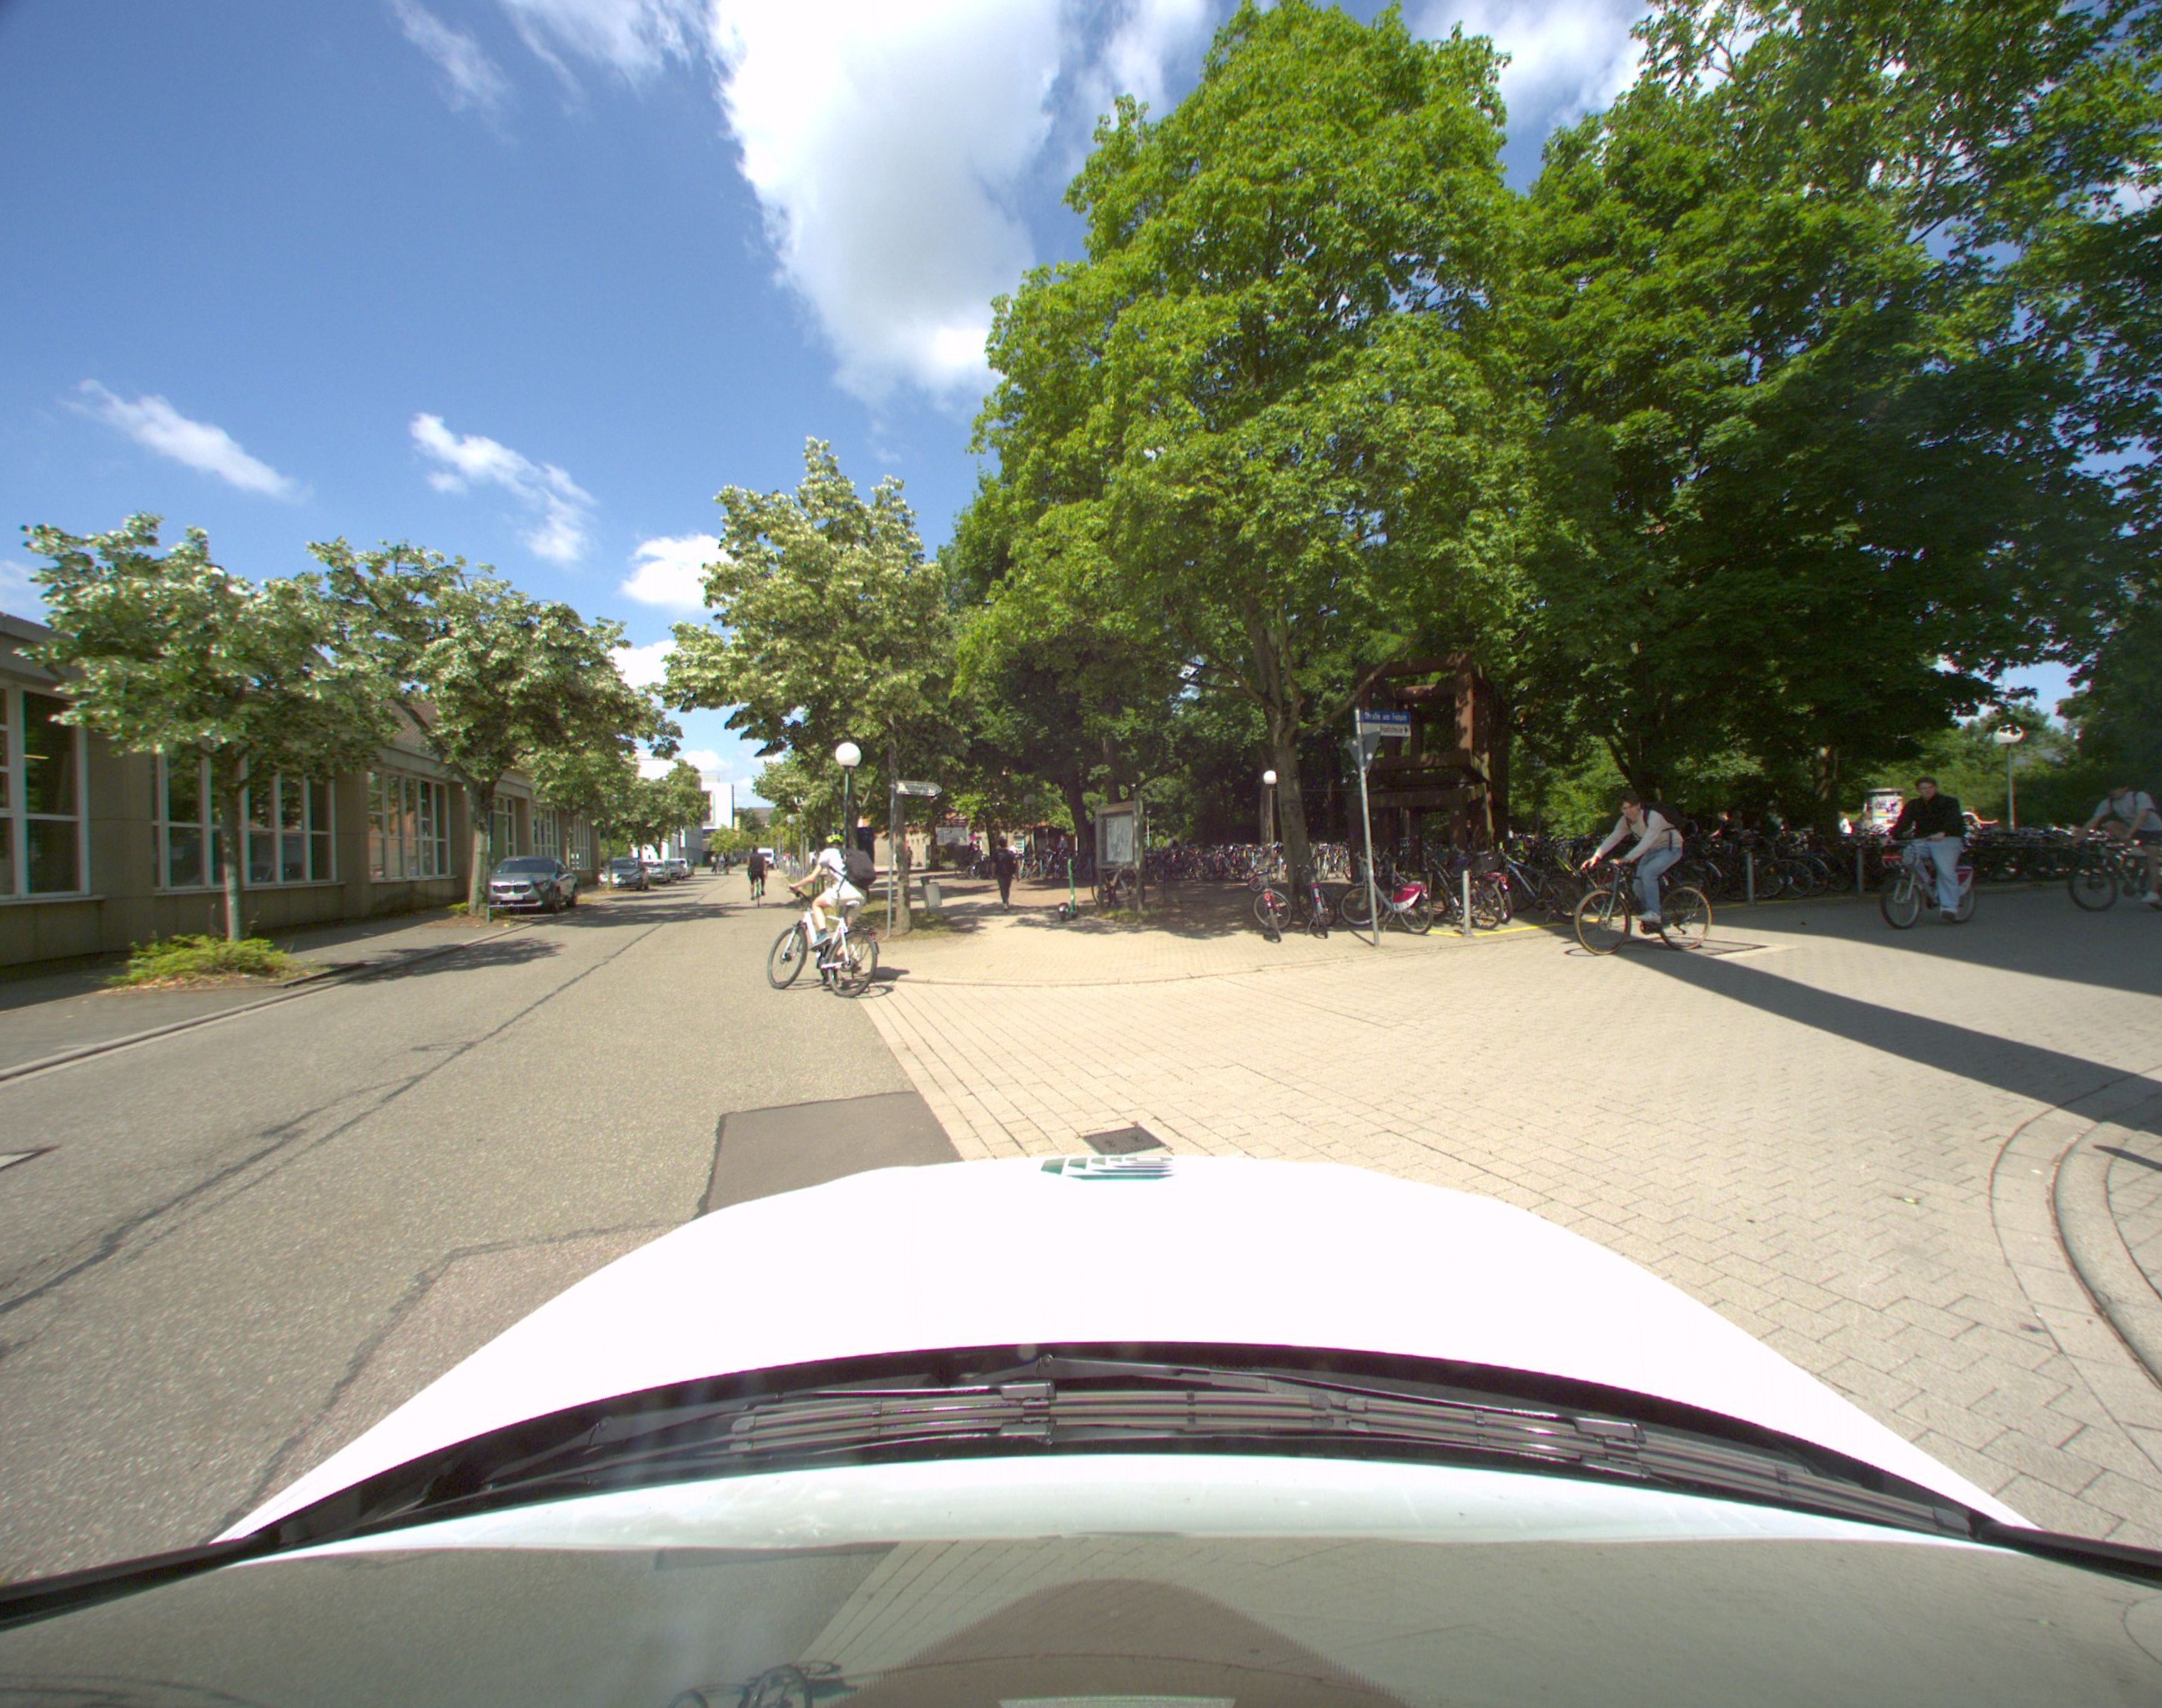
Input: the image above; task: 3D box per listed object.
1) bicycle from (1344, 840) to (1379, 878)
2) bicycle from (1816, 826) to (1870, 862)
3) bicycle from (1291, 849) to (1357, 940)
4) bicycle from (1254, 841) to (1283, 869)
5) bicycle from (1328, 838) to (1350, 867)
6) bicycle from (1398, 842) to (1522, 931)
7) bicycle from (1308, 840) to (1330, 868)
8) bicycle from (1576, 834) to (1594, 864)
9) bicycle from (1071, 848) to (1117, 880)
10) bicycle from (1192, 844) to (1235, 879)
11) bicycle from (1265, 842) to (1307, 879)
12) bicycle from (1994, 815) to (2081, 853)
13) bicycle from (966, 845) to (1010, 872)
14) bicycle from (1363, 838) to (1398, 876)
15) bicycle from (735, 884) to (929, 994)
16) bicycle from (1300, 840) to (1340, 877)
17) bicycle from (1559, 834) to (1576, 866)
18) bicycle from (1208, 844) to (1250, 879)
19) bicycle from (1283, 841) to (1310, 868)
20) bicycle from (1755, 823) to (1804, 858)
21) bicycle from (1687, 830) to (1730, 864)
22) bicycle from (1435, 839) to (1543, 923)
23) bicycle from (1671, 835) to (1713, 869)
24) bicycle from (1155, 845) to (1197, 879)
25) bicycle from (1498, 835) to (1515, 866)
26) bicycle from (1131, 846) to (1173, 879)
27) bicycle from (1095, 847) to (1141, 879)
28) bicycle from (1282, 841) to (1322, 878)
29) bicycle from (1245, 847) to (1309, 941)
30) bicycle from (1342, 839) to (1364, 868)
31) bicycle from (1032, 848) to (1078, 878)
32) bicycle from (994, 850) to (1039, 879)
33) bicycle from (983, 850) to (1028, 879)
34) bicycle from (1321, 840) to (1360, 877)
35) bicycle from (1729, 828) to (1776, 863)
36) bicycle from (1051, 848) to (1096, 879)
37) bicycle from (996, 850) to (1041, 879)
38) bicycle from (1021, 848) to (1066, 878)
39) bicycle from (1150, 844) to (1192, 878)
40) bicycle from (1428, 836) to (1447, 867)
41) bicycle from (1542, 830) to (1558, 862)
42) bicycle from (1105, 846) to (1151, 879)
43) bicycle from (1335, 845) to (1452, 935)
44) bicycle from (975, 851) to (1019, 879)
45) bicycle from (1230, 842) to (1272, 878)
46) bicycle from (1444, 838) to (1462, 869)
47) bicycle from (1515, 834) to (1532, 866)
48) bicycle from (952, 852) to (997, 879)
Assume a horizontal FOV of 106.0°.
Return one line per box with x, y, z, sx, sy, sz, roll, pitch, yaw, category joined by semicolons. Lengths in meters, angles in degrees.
8.572;0.137;24.839;0.496;1.108;1.919;0;1;35;bicycle
23.522;-0.322;25.171;0.469;1.083;1.706;-1;1;14;bicycle
3.362;0.515;11.389;0.585;1.108;1.750;-3;1;8;bicycle
7.749;0.023;33.653;0.468;1.083;1.710;0;1;39;bicycle
10.157;-0.066;32.019;0.468;1.083;1.710;0;1;29;bicycle
5.184;0.412;11.242;0.497;1.108;1.618;-4;1;-21;bicycle
9.506;-0.012;32.517;0.468;1.083;1.710;0;1;29;bicycle
17.104;-0.176;27.662;0.446;0.962;1.751;0;1;29;bicycle
0.500;0.356;30.662;0.496;1.108;2.043;0;1;41;bicycle
4.468;0.232;27.366;0.496;1.108;2.018;0;1;38;bicycle
6.603;0.189;26.179;0.496;1.108;2.018;0;1;38;bicycle
28.721;-0.592;24.487;0.472;1.110;1.695;-1;1;-8;bicycle
-3.969;0.172;34.945;0.496;1.108;2.043;0;1;41;bicycle
9.052;0.068;24.591;0.496;1.108;1.919;0;1;35;bicycle
-2.789;0.942;9.106;2.048;1.108;0.608;-3;0;19;bicycle
7.477;0.126;25.402;0.496;1.108;1.919;0;1;38;bicycle
16.671;-0.153;27.911;0.468;1.083;1.710;0;1;29;bicycle
4.923;0.224;26.992;0.496;1.108;2.018;0;1;38;bicycle
8.774;0.006;33.094;0.468;1.083;1.711;0;1;35;bicycle
22.091;-0.426;25.792;0.469;1.083;1.706;-1;1;14;bicycle
20.408;-0.247;26.511;0.469;1.083;1.706;-1;1;14;bicycle
5.826;0.349;11.735;0.495;1.108;1.625;-3;1;-9;bicycle
19.940;-0.079;26.591;0.469;1.083;1.706;-1;1;14;bicycle
3.317;0.256;28.275;0.496;1.108;2.043;0;1;36;bicycle
15.180;-0.141;29.015;0.468;1.083;1.710;0;1;29;bicycle
2.544;0.274;28.835;0.496;1.108;2.043;0;1;36;bicycle
1.368;0.311;29.866;0.496;1.108;2.043;0;1;41;bicycle
7.048;0.151;25.881;0.496;1.108;1.919;0;1;38;bicycle
2.713;0.513;11.397;0.634;1.159;1.633;-3;1;7;bicycle
10.639;-0.035;31.824;0.468;1.083;1.710;0;1;29;bicycle
-0.998;0.349;31.908;0.496;1.108;2.043;0;1;41;bicycle
-2.641;0.413;33.584;0.496;1.108;2.043;0;1;41;bicycle
-3.146;0.421;34.114;0.496;1.108;2.043;0;1;41;bicycle
8.076;0.121;25.299;0.496;1.108;1.919;0;1;38;bicycle
21.436;-0.282;26.017;0.469;1.083;1.706;-1;1;14;bicycle
-0.281;0.344;31.491;0.496;1.108;2.043;0;1;41;bicycle
-2.541;0.419;33.379;0.496;1.108;2.043;0;1;41;bicycle
-1.462;0.352;32.325;0.496;1.108;2.043;0;1;41;bicycle
3.163;0.225;28.389;0.496;1.108;2.043;0;1;36;bicycle
13.175;-0.099;30.064;0.468;1.083;1.710;0;1;29;bicycle
16.376;-0.305;28.437;0.468;1.083;1.710;0;1;29;bicycle
1.710;0.280;29.449;0.496;1.108;2.043;0;1;41;bicycle
4.248;0.455;11.184;0.497;1.108;1.618;-4;1;-21;bicycle
-3.566;0.441;34.614;0.496;1.108;2.043;0;1;41;bicycle
5.576;0.190;26.613;0.496;1.108;2.018;0;1;38;bicycle
13.623;-0.046;29.797;0.468;1.083;1.710;0;1;29;bicycle
15.627;-0.156;28.744;0.468;1.083;1.710;0;1;29;bicycle
-4.678;0.478;35.838;2.041;1.108;0.497;-2;1;-41;bicycle
